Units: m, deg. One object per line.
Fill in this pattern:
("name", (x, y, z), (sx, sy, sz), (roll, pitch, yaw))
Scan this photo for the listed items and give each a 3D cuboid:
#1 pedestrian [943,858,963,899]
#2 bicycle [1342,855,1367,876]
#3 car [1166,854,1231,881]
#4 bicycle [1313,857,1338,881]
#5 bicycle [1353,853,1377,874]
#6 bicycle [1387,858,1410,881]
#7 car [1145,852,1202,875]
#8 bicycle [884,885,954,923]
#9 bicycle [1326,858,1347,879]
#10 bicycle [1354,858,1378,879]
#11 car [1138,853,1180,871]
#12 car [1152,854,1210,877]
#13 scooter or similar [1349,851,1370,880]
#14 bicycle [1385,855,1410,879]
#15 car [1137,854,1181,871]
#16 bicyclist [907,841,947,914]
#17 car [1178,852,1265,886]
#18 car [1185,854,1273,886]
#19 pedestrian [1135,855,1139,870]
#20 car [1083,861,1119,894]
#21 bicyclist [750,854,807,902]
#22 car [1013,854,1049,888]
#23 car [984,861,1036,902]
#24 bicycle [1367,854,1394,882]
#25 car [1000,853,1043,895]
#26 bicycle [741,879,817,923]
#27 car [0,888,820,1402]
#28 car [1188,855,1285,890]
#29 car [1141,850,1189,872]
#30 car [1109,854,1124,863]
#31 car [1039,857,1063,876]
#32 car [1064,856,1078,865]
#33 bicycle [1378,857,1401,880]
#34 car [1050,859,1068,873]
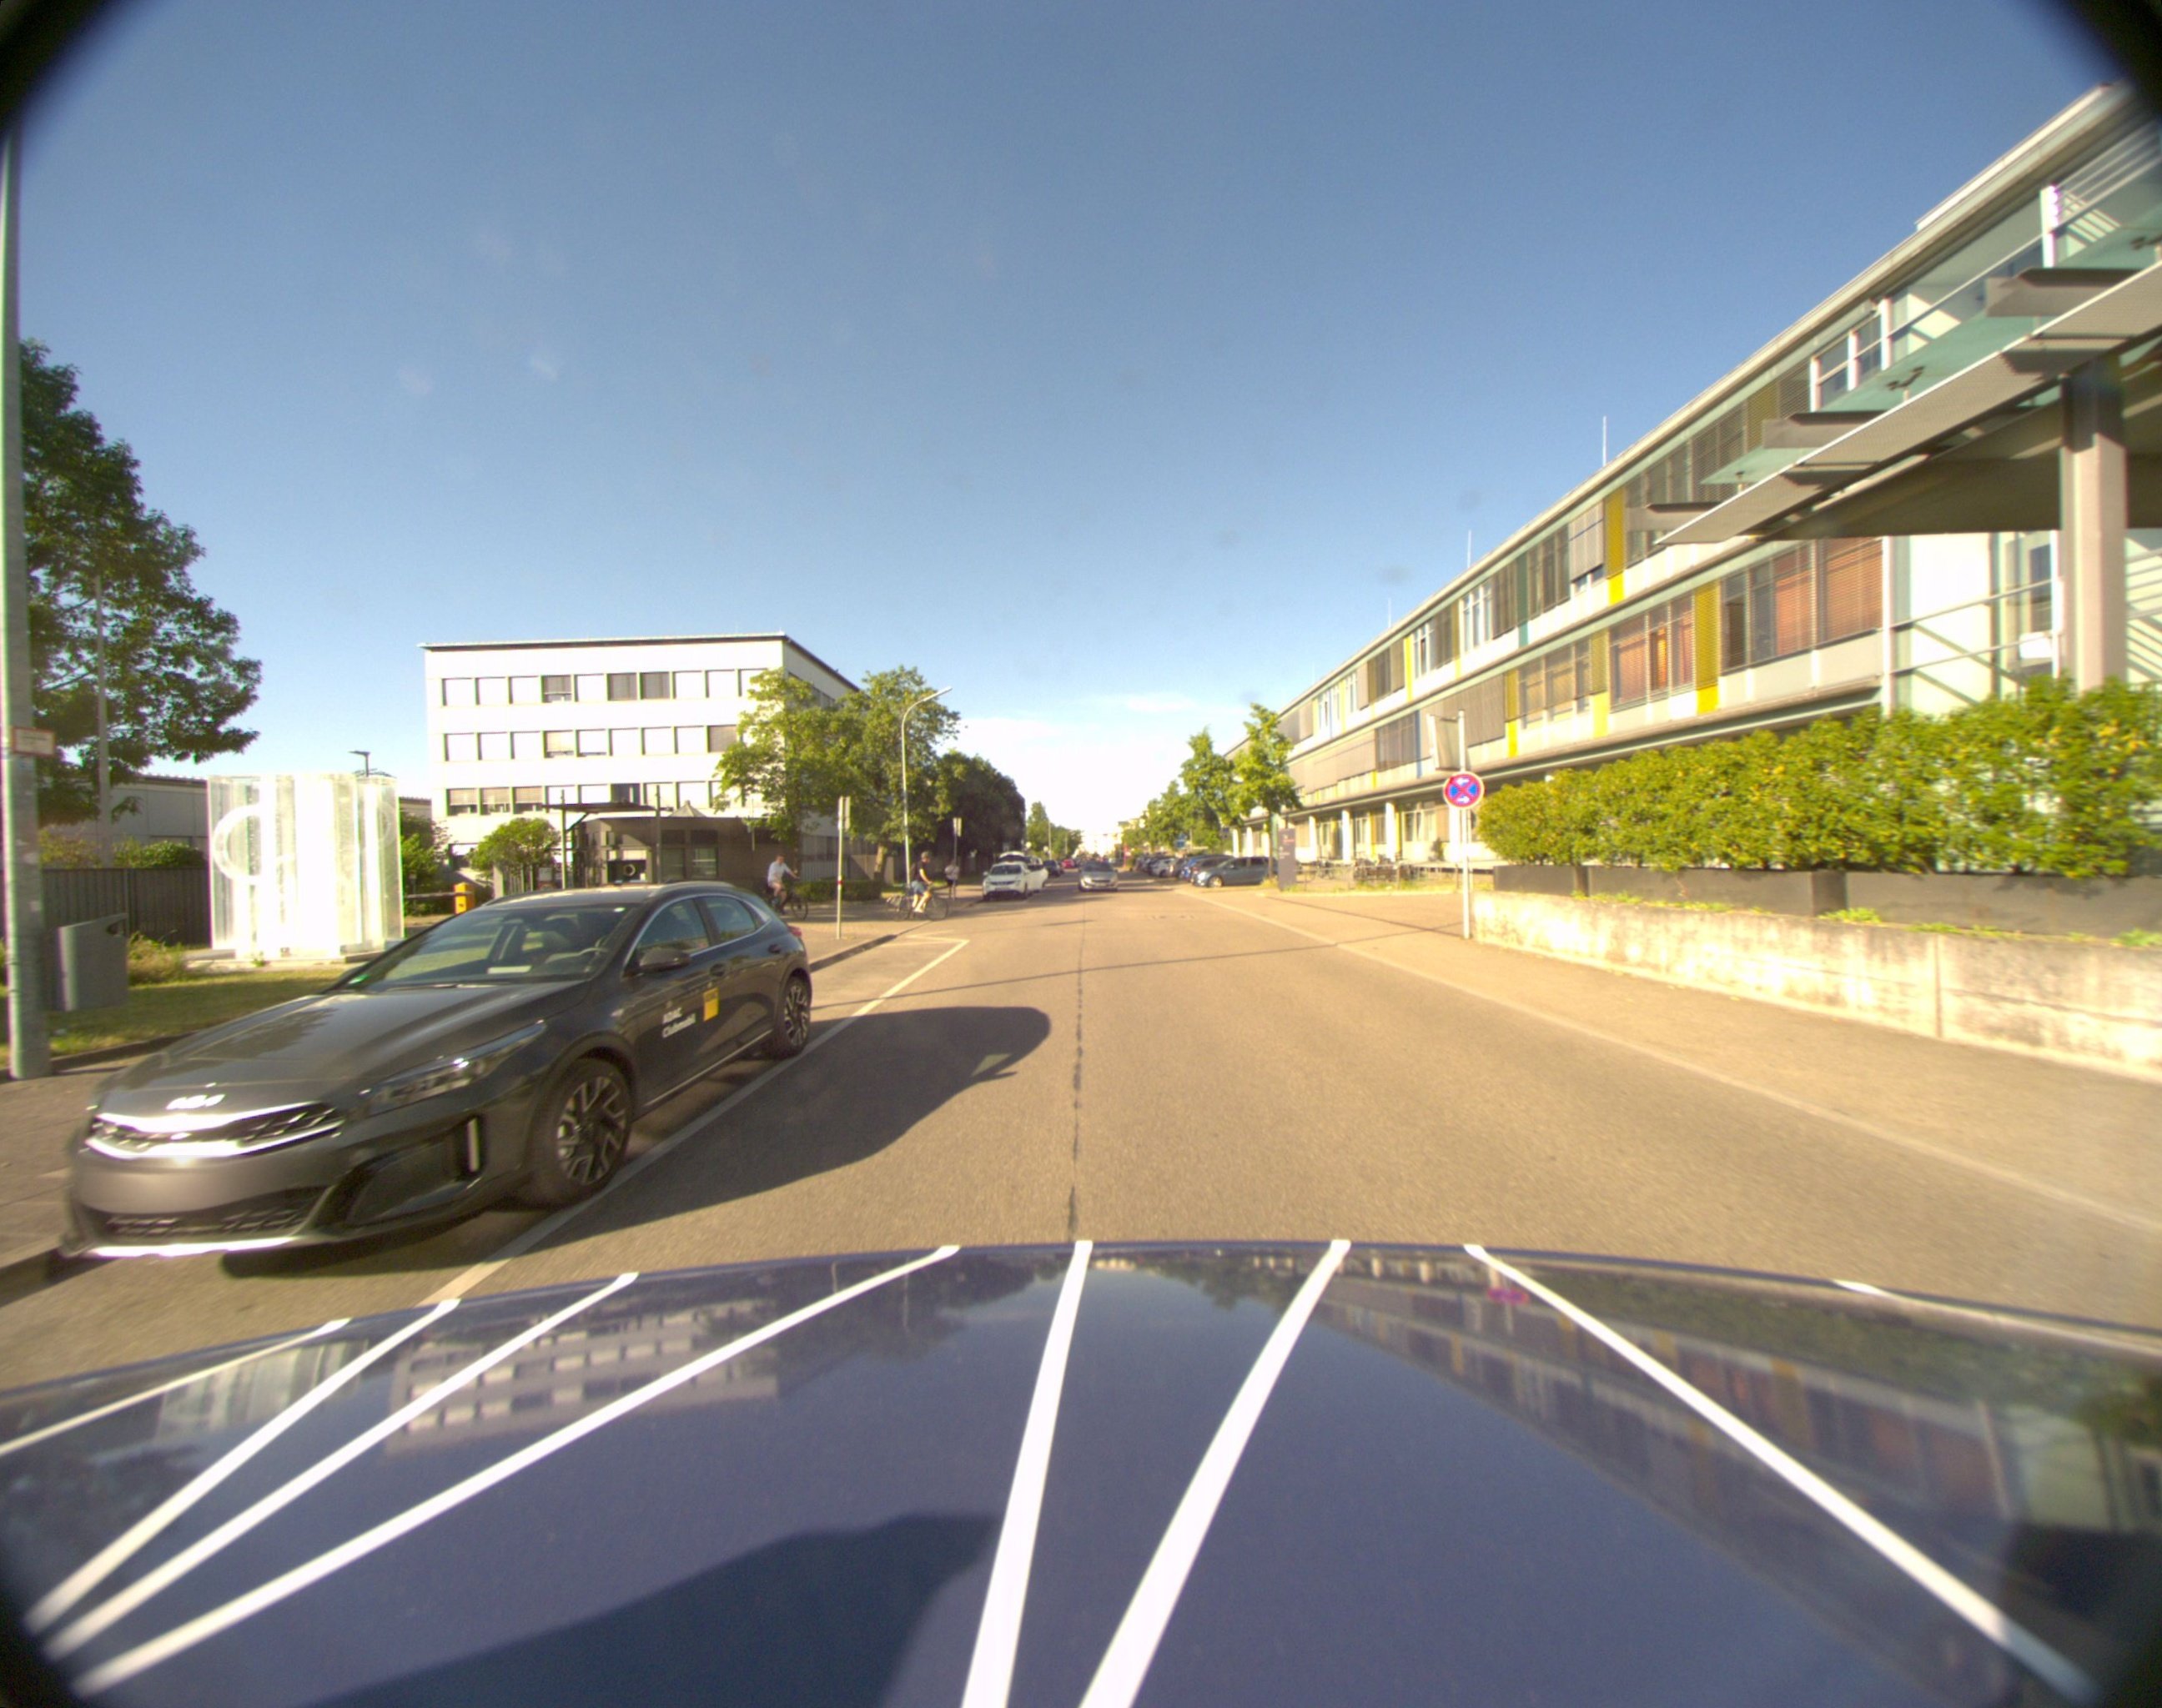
("pedestrian", (-5.384, 1.014, 31.896), (0.693, 1.718, 0.775), (0, 0, 0))
("bicycle", (14.947, 0.626, 41.569), (0.648, 1.089, 1.855), (-1, 0, 0))
("car", (7.843, 0.875, 50.875), (3.991, 1.480, 1.823), (-3, 1, -1))
("bicycle", (12.038, 0.728, 37.408), (0.637, 1.136, 1.780), (-1, 0, 0))
("bicycle", (16.225, 0.530, 43.466), (0.648, 1.192, 1.855), (-1, 0, 0))
("bicycle", (14.494, 0.710, 34.730), (0.353, 1.016, 1.396), (-1, 0, -5))
("car", (7.755, 0.788, 63.754), (4.360, 1.618, 1.999), (-3, 1, -3))
("bicycle", (-4.560, 1.400, 21.372), (1.886, 1.002, 0.700), (2, -1, -15))
("bicycle", (12.583, 0.712, 37.428), (0.428, 1.009, 1.780), (-1, 0, 0))
("bicycle", (13.698, 0.685, 36.539), (0.448, 1.009, 1.780), (-1, 0, 0))
("car", (8.394, 0.864, 82.029), (4.357, 1.637, 2.001), (-3, 0, 6))
("car", (7.571, 0.873, 57.976), (4.101, 1.414, 1.823), (-3, 1, -1))
("scooter or similar", (12.202, 0.500, 33.312), (0.471, 1.266, 1.205), (-1, 0, 2))
("bicycle", (15.610, 0.625, 37.541), (0.448, 1.129, 1.855), (-1, 0, 0))
("car", (8.129, 0.885, 79.109), (4.357, 1.452, 2.001), (-3, 0, 6))
("bicyclist", (-4.343, 0.664, 21.367), (1.053, 2.001, 0.958), (0, -1, -13))
("car", (7.528, 0.780, 40.887), (4.232, 1.642, 1.960), (-2, 0, -2))
("car", (7.401, 0.801, 38.269), (3.998, 1.429, 1.731), (-2, 0, -2))
("pedestrian", (6.590, 0.999, 89.166), (0.369, 1.712, 0.479), (-3, 5, -3))
("car", (0.952, 1.046, 34.980), (1.551, 1.389, 3.455), (0, 0, 3))
("bicyclist", (-8.168, 0.645, 20.567), (1.098, 1.261, 0.863), (-2, 0, 16))
("car", (-2.889, 0.936, 44.534), (1.706, 1.784, 4.294), (-3, 0, 1))
("car", (-2.930, 1.096, 32.161), (1.668, 1.505, 4.114), (-3, 0, 1))
("bicycle", (13.278, 0.619, 33.690), (0.353, 1.040, 1.653), (-1, -8, -5))
("car", (-2.913, 0.956, 38.031), (1.869, 1.858, 5.021), (-3, 0, -2))
("bicycle", (-8.154, 1.257, 20.537), (1.899, 1.136, 0.668), (0, 0, 16))
("car", (-3.212, 1.083, 4.662), (1.705, 1.478, 4.215), (-3, 0, 0))
("car", (7.256, 0.868, 35.789), (4.142, 1.458, 1.753), (-2, 0, -1))
("car", (8.133, 0.681, 73.669), (4.358, 1.852, 2.000), (-3, 0, 2))
("car", (5.825, 0.718, 125.142), (1.999, 1.499, 3.998), (0, 0, -6))
("car", (-2.686, 1.133, 69.570), (1.890, 1.616, 4.294), (-3, 0, 1))
("car", (-1.612, 1.045, 117.788), (1.999, 1.382, 3.998), (0, 0, -4))
("bicycle", (14.075, 0.655, 34.704), (0.353, 1.016, 1.396), (-1, 0, -5))
("car", (-2.431, 1.300, 86.007), (1.824, 1.435, 4.294), (-3, 0, 1))
